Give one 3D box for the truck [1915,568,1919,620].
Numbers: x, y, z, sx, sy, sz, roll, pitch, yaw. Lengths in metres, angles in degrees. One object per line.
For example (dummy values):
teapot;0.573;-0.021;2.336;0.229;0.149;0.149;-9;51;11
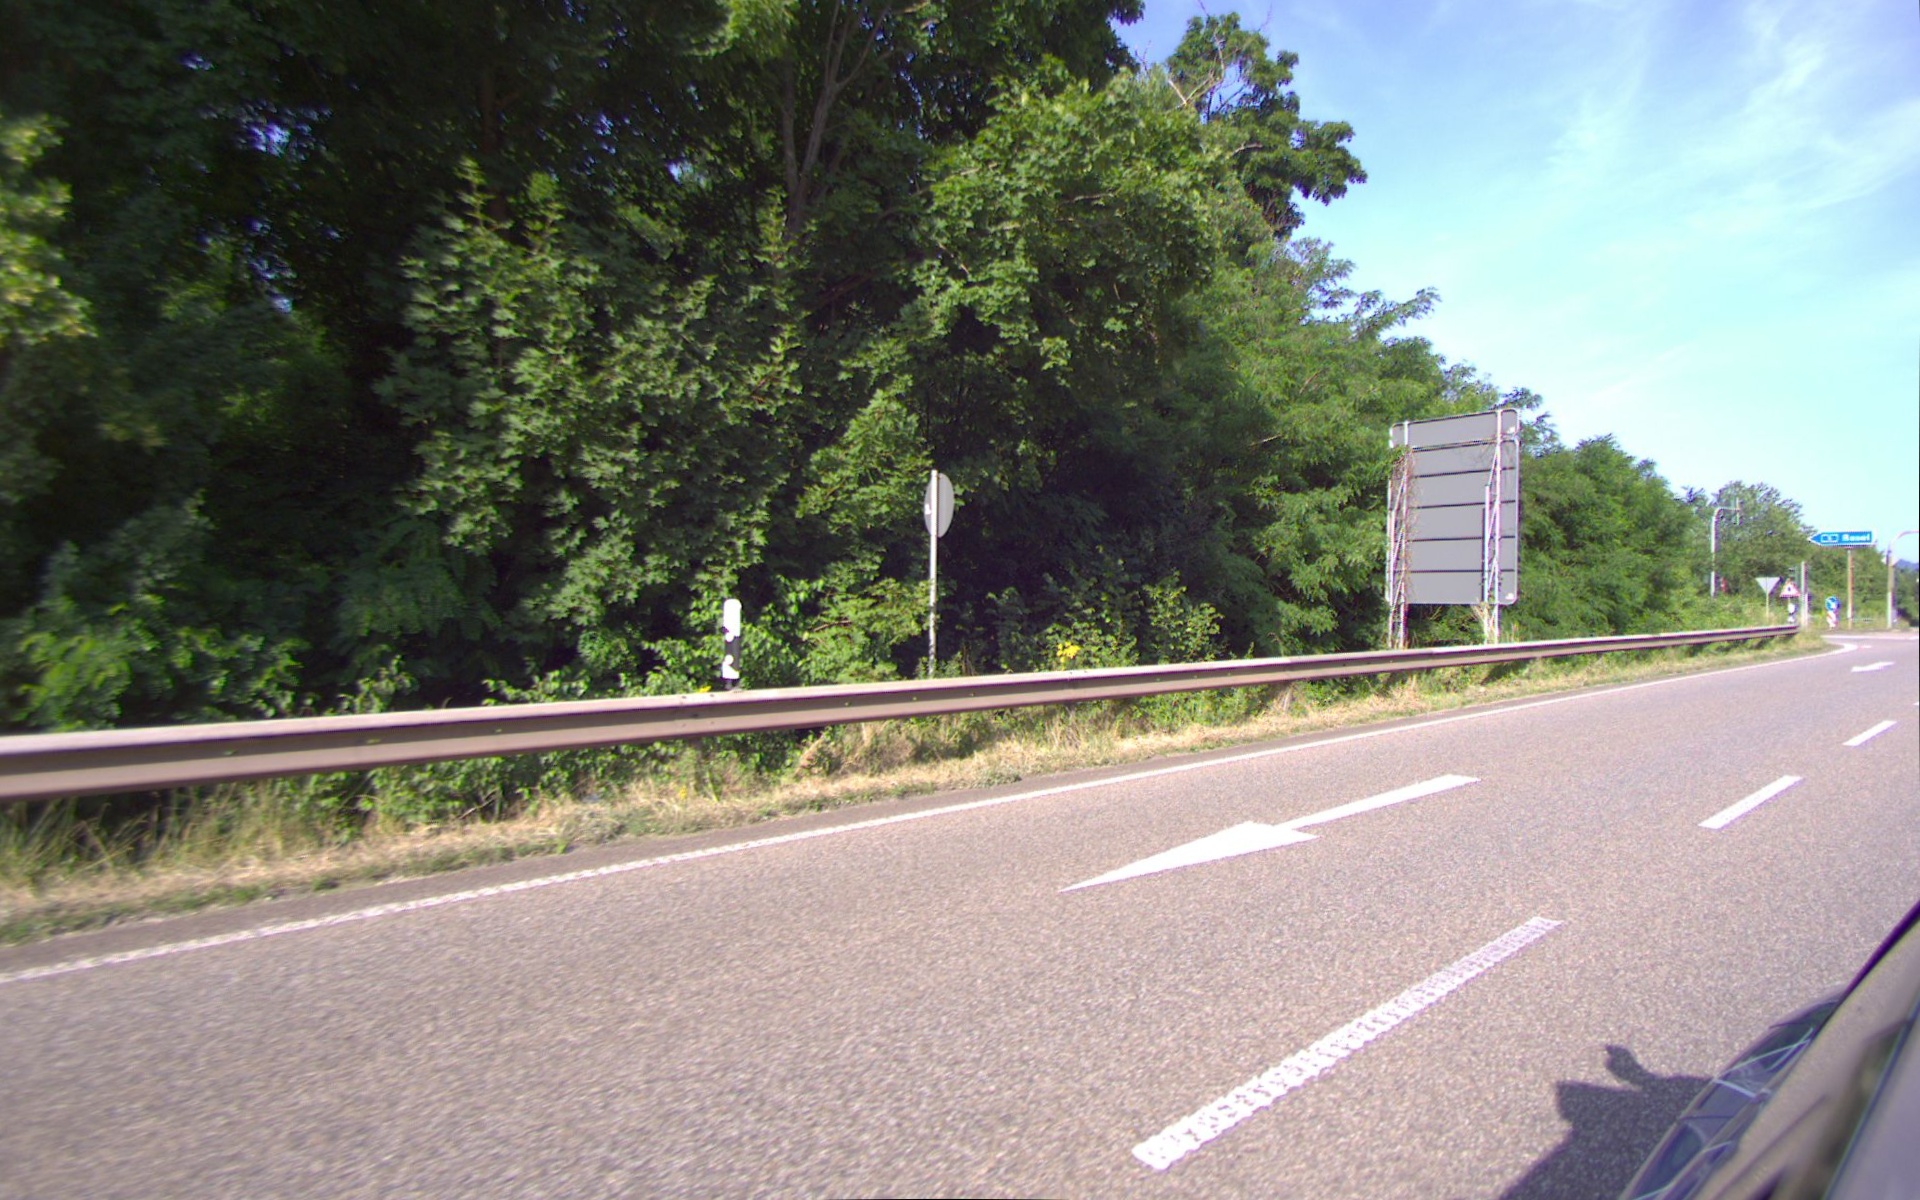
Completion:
truck;82.518;-0.484;84.487;14.320;4.071;3.190;1;-2;-44
